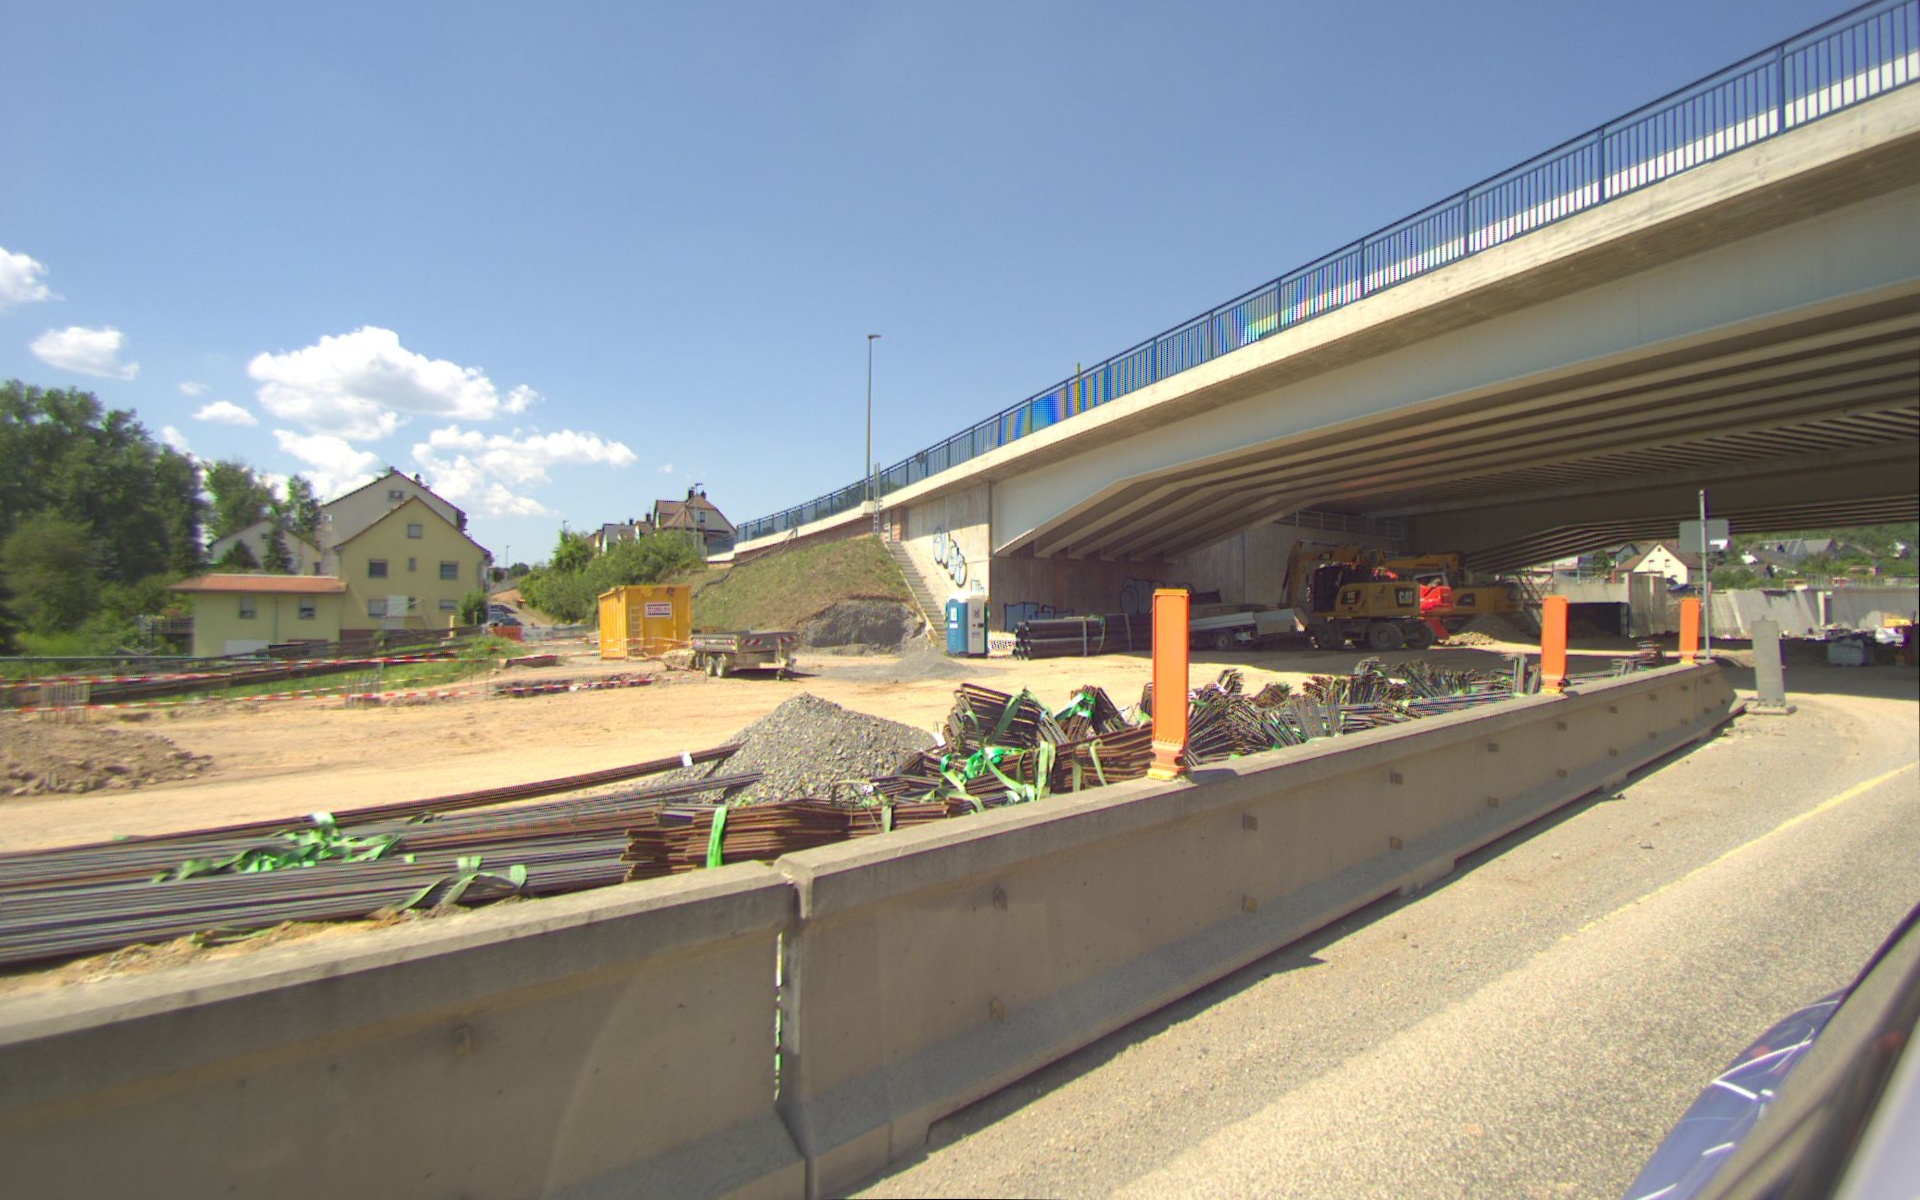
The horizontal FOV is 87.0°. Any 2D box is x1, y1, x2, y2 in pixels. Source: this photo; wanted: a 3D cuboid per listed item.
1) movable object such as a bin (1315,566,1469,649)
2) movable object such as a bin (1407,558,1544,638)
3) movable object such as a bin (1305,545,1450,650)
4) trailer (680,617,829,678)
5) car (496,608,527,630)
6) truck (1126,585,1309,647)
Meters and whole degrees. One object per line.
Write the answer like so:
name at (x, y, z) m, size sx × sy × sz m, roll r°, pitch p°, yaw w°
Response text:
movable object such as a bin at (17.507, 0.311, 41.296) m, size 2.448 × 3.095 × 5.259 m, roll -2°, pitch 0°, yaw -32°
movable object such as a bin at (23.160, -0.073, 45.637) m, size 2.932 × 3.328 × 4.570 m, roll -2°, pitch 0°, yaw -32°
movable object such as a bin at (15.344, -0.095, 37.394) m, size 2.843 × 3.587 × 3.899 m, roll -2°, pitch 0°, yaw -25°
trailer at (-5.437, 1.160, 26.291) m, size 2.018 × 1.234 × 4.728 m, roll -3°, pitch 2°, yaw -36°
car at (-34.315, 1.456, 77.343) m, size 1.548 × 1.526 × 4.169 m, roll -2°, pitch 2°, yaw -32°
truck at (9.321, 0.578, 37.414) m, size 2.613 × 2.100 × 6.545 m, roll -1°, pitch -1°, yaw -32°
